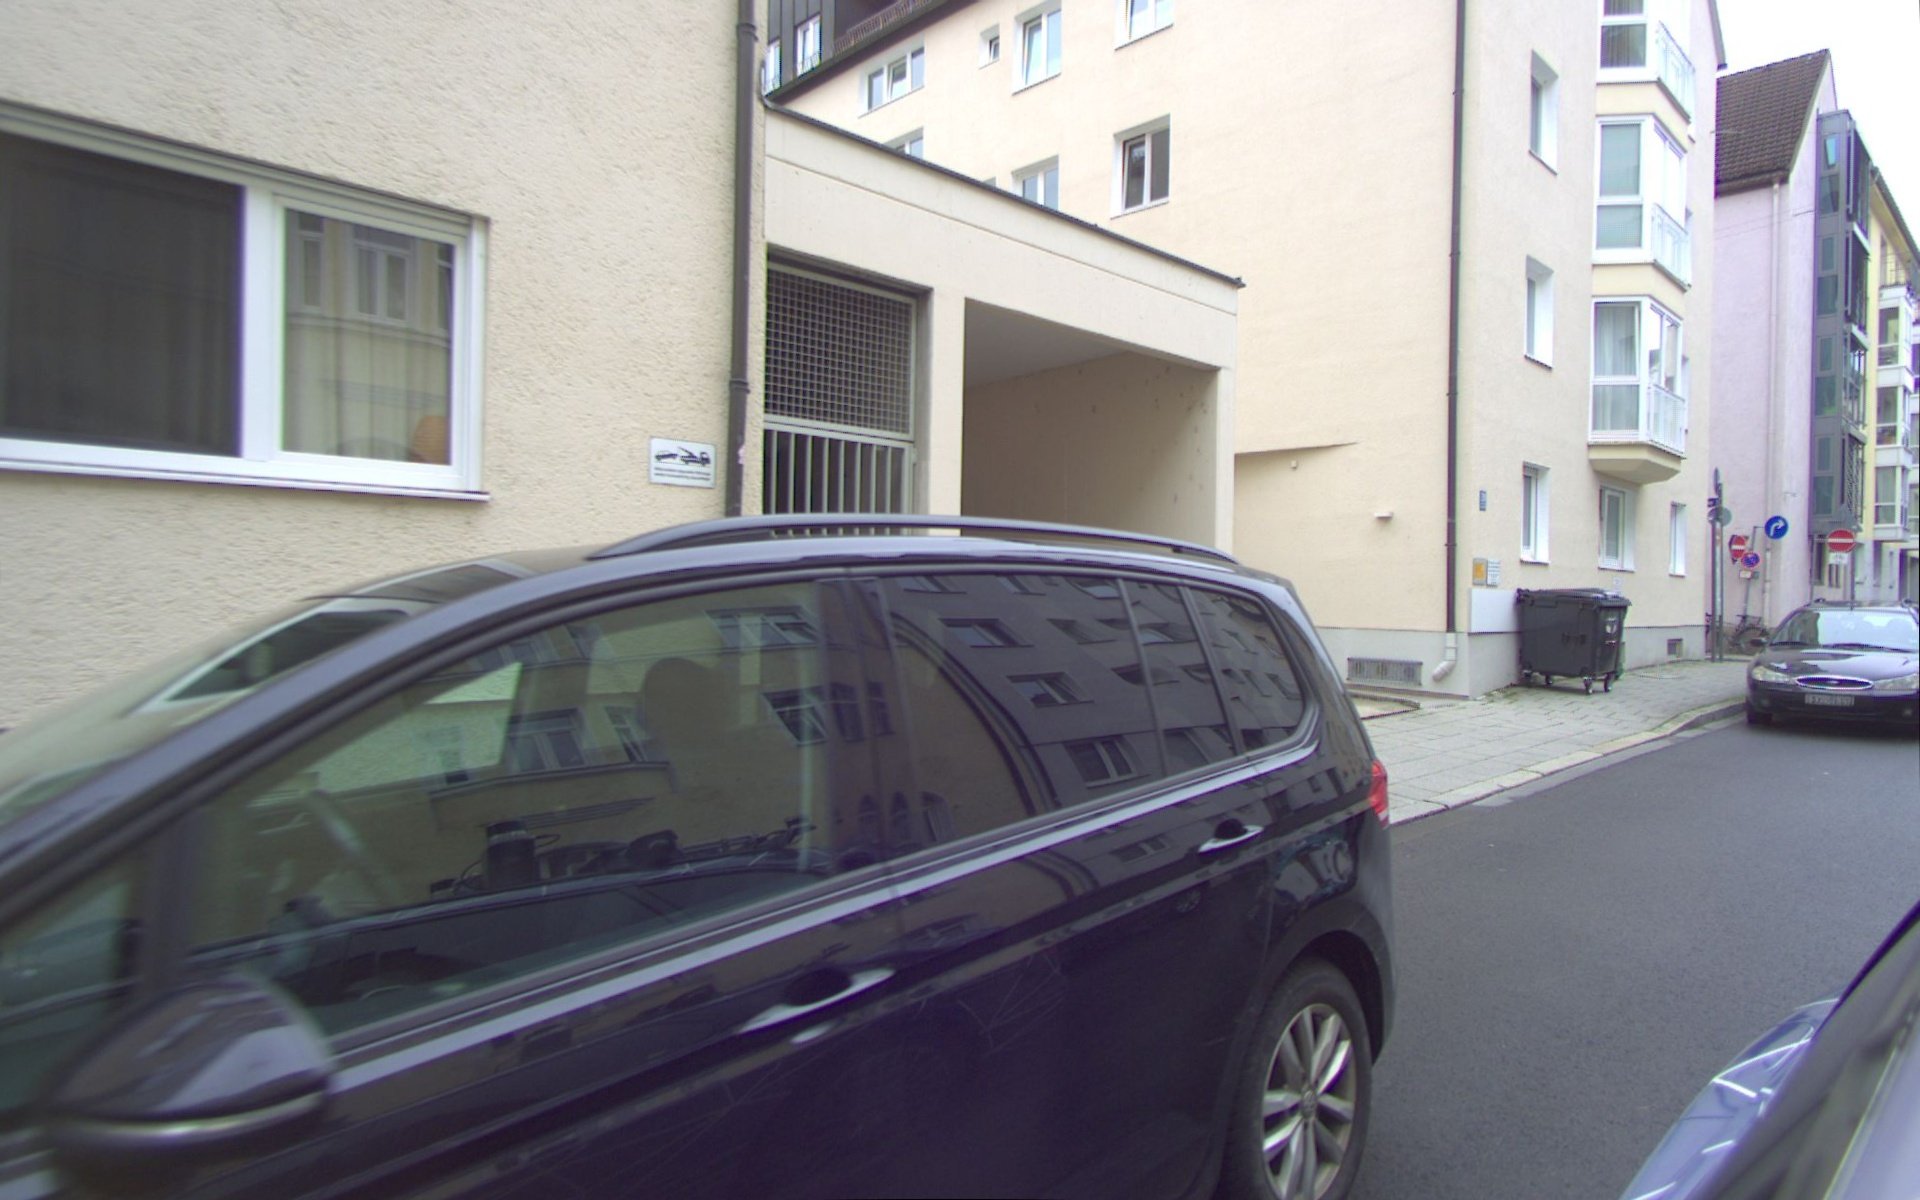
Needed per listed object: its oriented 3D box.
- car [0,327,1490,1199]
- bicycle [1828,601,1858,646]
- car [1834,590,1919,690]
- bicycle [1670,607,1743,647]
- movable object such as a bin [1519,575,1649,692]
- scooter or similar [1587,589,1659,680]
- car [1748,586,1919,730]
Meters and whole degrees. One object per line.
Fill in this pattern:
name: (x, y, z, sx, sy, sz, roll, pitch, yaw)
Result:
car: (-0.721, 0.582, 2.020, 4.169, 1.628, 1.714, -1, 0, -40)
bicycle: (22.891, 0.608, 26.233, 1.515, 1.136, 0.357, 0, 0, -41)
car: (15.313, 0.558, 15.884, 4.335, 1.424, 1.835, -1, 0, -41)
bicycle: (19.114, 0.682, 25.937, 0.543, 0.959, 1.448, 1, 0, -45)
movable object such as a bin: (8.432, 0.404, 13.661, 1.559, 1.440, 1.034, -1, 3, -41)
scooter or similar: (9.899, 0.483, 15.111, 1.117, 1.282, 0.577, 0, 3, -41)
car: (11.125, 0.582, 12.382, 4.456, 1.490, 1.718, -1, 0, -44)
